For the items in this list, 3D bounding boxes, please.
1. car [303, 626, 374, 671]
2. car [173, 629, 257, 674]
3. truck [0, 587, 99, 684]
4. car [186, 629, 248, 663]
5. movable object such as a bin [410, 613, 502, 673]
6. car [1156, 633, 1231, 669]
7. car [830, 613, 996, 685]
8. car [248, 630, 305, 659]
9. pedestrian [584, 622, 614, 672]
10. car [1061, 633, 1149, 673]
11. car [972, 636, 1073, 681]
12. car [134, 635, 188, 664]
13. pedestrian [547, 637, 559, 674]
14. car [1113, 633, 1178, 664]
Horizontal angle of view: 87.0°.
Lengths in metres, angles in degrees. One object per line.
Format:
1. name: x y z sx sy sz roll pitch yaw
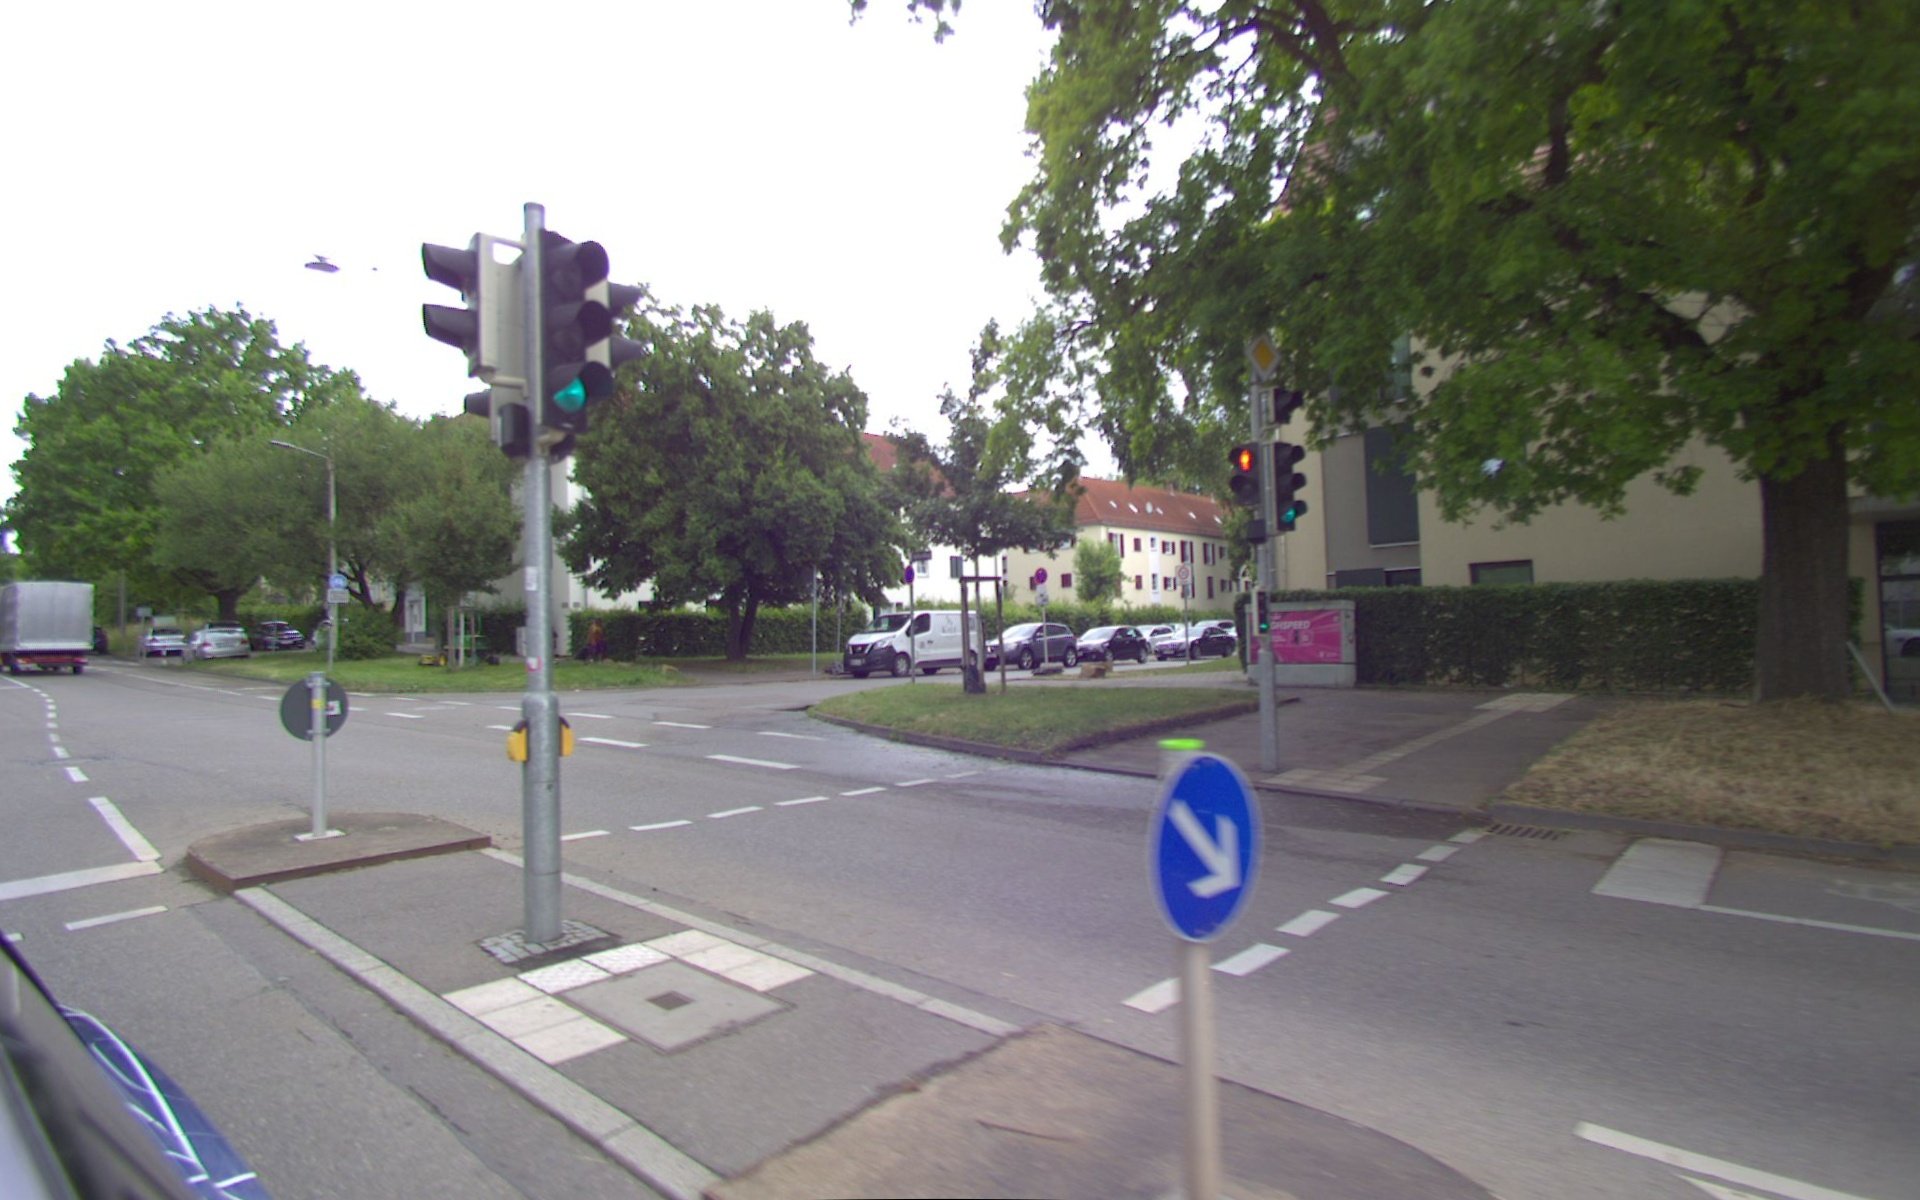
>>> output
1. car: -28.277 2.179 46.000 4.000 1.904 1.732 -2 -1 43
2. car: -30.771 2.071 41.755 4.545 1.689 1.972 -2 -1 42
3. truck: -33.991 1.293 37.342 7.213 3.262 2.341 -2 -2 41
4. car: -38.190 2.329 51.986 4.000 1.618 1.835 -2 -1 43
5. movable object such as a bin: -16.890 1.440 33.891 3.234 1.918 1.088 -1 -1 28
6. car: 9.898 2.119 42.732 1.538 1.323 3.489 -2 -1 43
7. car: -1.315 1.394 30.434 1.999 1.932 5.085 -2 -1 42
8. car: -35.788 2.309 52.939 3.872 1.442 1.658 -2 -1 43
9. pedestrian: -12.926 1.678 36.245 0.682 1.770 0.775 -1 -1 10
10. car: 5.425 1.929 37.672 1.538 1.323 3.489 -2 -1 43
11. car: 2.158 1.938 34.277 1.538 1.323 3.489 -2 -1 43
12. car: -39.965 2.456 50.586 4.000 1.364 1.583 -2 -1 43
13. pedestrian: -14.420 1.971 35.846 0.353 1.281 0.361 0 -2 -25
14. car: 9.169 2.361 49.910 1.585 1.392 3.403 -2 -1 42
